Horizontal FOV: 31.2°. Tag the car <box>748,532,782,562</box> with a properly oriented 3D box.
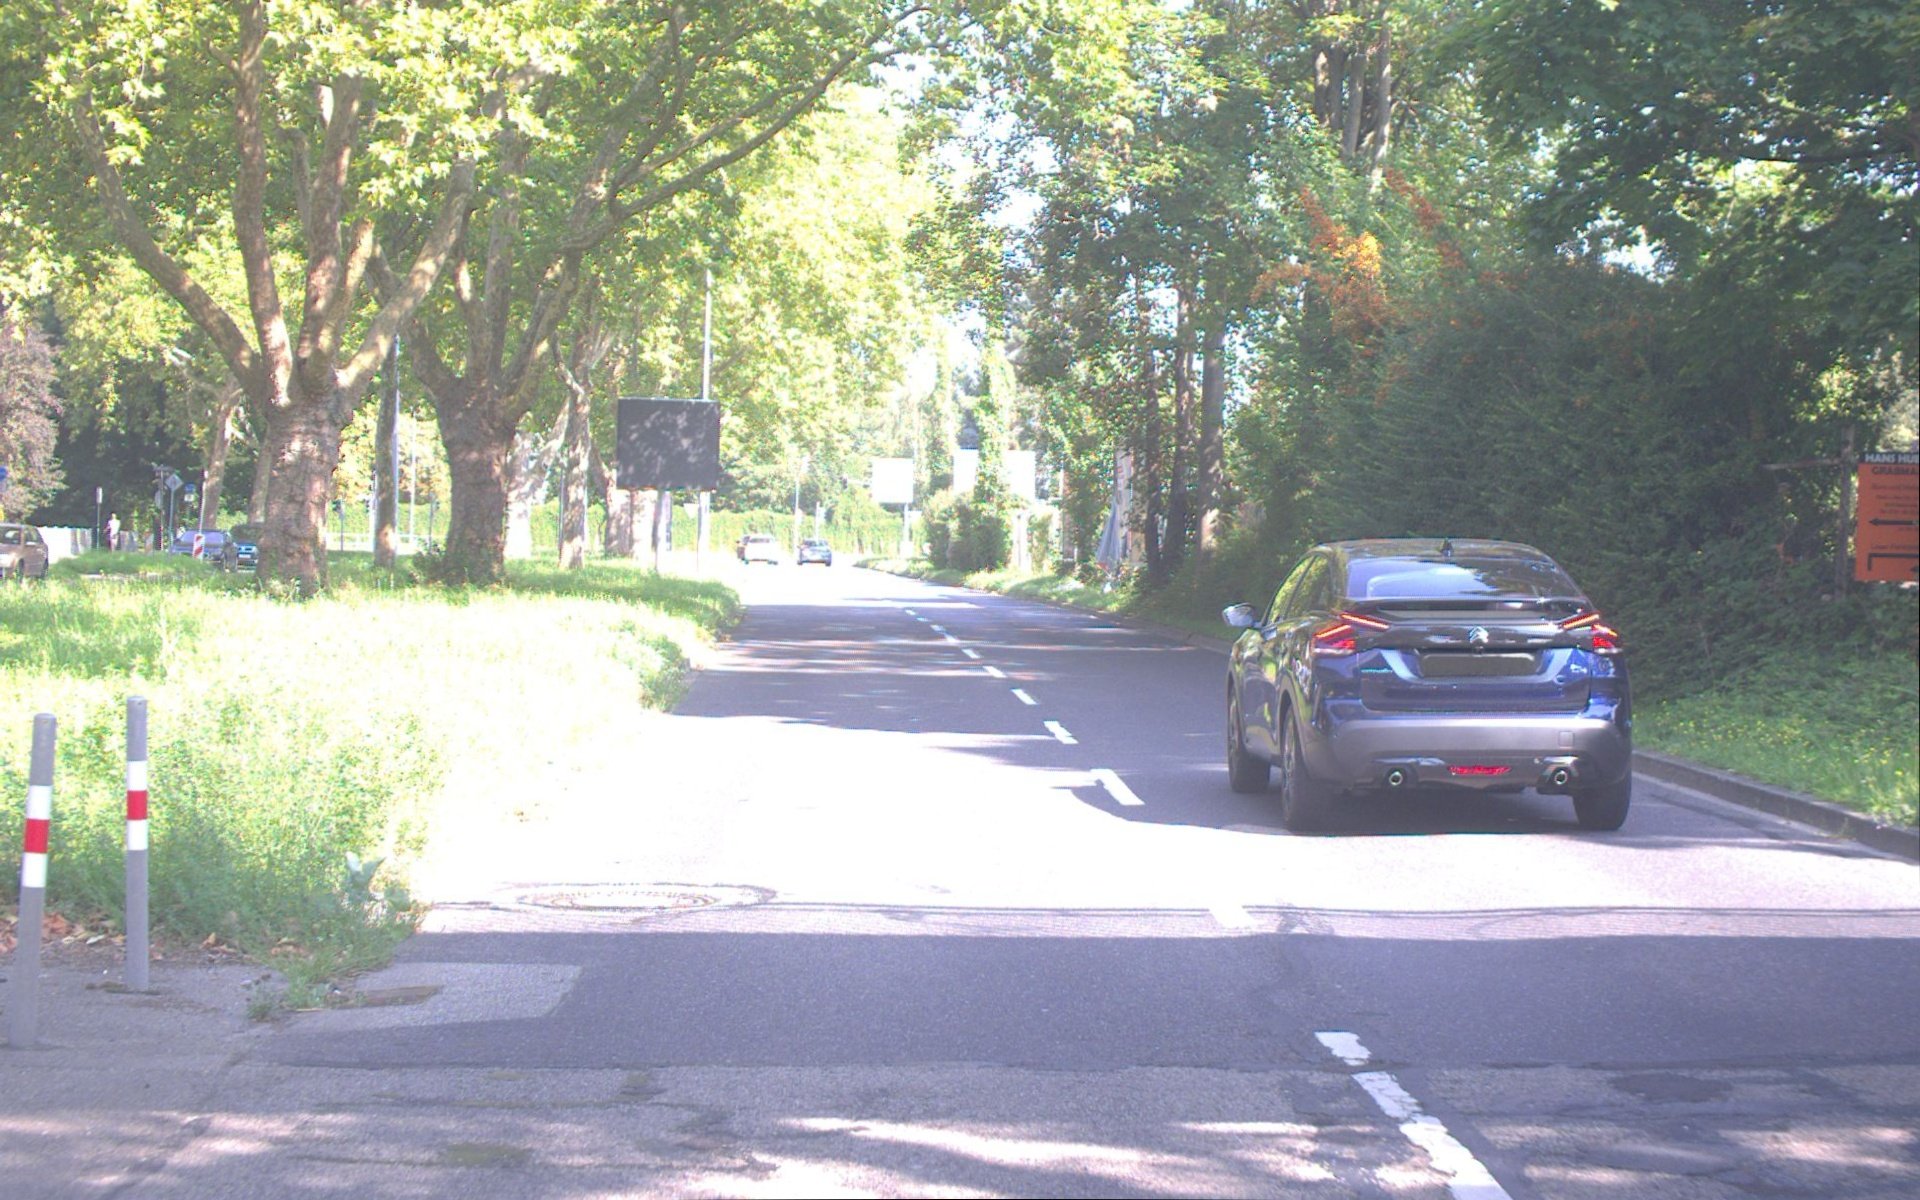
[{"bbox_3d":[-9.856,-2.693,173.816,1.687,1.457,4.001,2,1,-3],"label":"car"}]

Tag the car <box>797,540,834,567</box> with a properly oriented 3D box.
[{"bbox_3d":[-7.786,-2.501,184.511,1.797,1.396,4.001,2,1,-4],"label":"car"}]

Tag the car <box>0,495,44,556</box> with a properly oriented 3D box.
[{"bbox_3d":[-23.224,-1.803,81.914,1.802,1.425,4.065,2,1,-2],"label":"car"}]

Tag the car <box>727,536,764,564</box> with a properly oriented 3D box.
[{"bbox_3d":[-11.547,-2.670,185.203,1.687,1.457,3.850,2,1,0],"label":"car"}]

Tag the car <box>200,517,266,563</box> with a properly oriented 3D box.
[{"bbox_3d":[-25.926,-2.139,122.727,1.699,1.562,4.001,1,1,-3],"label":"car"}]

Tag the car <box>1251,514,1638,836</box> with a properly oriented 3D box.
[{"bbox_3d":[2.587,0.347,19.222,1.645,1.583,4.255,1,1,1],"label":"car"}]

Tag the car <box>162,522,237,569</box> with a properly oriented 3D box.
[{"bbox_3d":[-25.301,-1.802,114.460,1.699,1.503,4.541,1,1,-3],"label":"car"}]

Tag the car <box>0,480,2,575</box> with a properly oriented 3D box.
[{"bbox_3d":[-18.243,-1.278,60.136,1.802,1.714,4.720,1,1,-2],"label":"car"}]
